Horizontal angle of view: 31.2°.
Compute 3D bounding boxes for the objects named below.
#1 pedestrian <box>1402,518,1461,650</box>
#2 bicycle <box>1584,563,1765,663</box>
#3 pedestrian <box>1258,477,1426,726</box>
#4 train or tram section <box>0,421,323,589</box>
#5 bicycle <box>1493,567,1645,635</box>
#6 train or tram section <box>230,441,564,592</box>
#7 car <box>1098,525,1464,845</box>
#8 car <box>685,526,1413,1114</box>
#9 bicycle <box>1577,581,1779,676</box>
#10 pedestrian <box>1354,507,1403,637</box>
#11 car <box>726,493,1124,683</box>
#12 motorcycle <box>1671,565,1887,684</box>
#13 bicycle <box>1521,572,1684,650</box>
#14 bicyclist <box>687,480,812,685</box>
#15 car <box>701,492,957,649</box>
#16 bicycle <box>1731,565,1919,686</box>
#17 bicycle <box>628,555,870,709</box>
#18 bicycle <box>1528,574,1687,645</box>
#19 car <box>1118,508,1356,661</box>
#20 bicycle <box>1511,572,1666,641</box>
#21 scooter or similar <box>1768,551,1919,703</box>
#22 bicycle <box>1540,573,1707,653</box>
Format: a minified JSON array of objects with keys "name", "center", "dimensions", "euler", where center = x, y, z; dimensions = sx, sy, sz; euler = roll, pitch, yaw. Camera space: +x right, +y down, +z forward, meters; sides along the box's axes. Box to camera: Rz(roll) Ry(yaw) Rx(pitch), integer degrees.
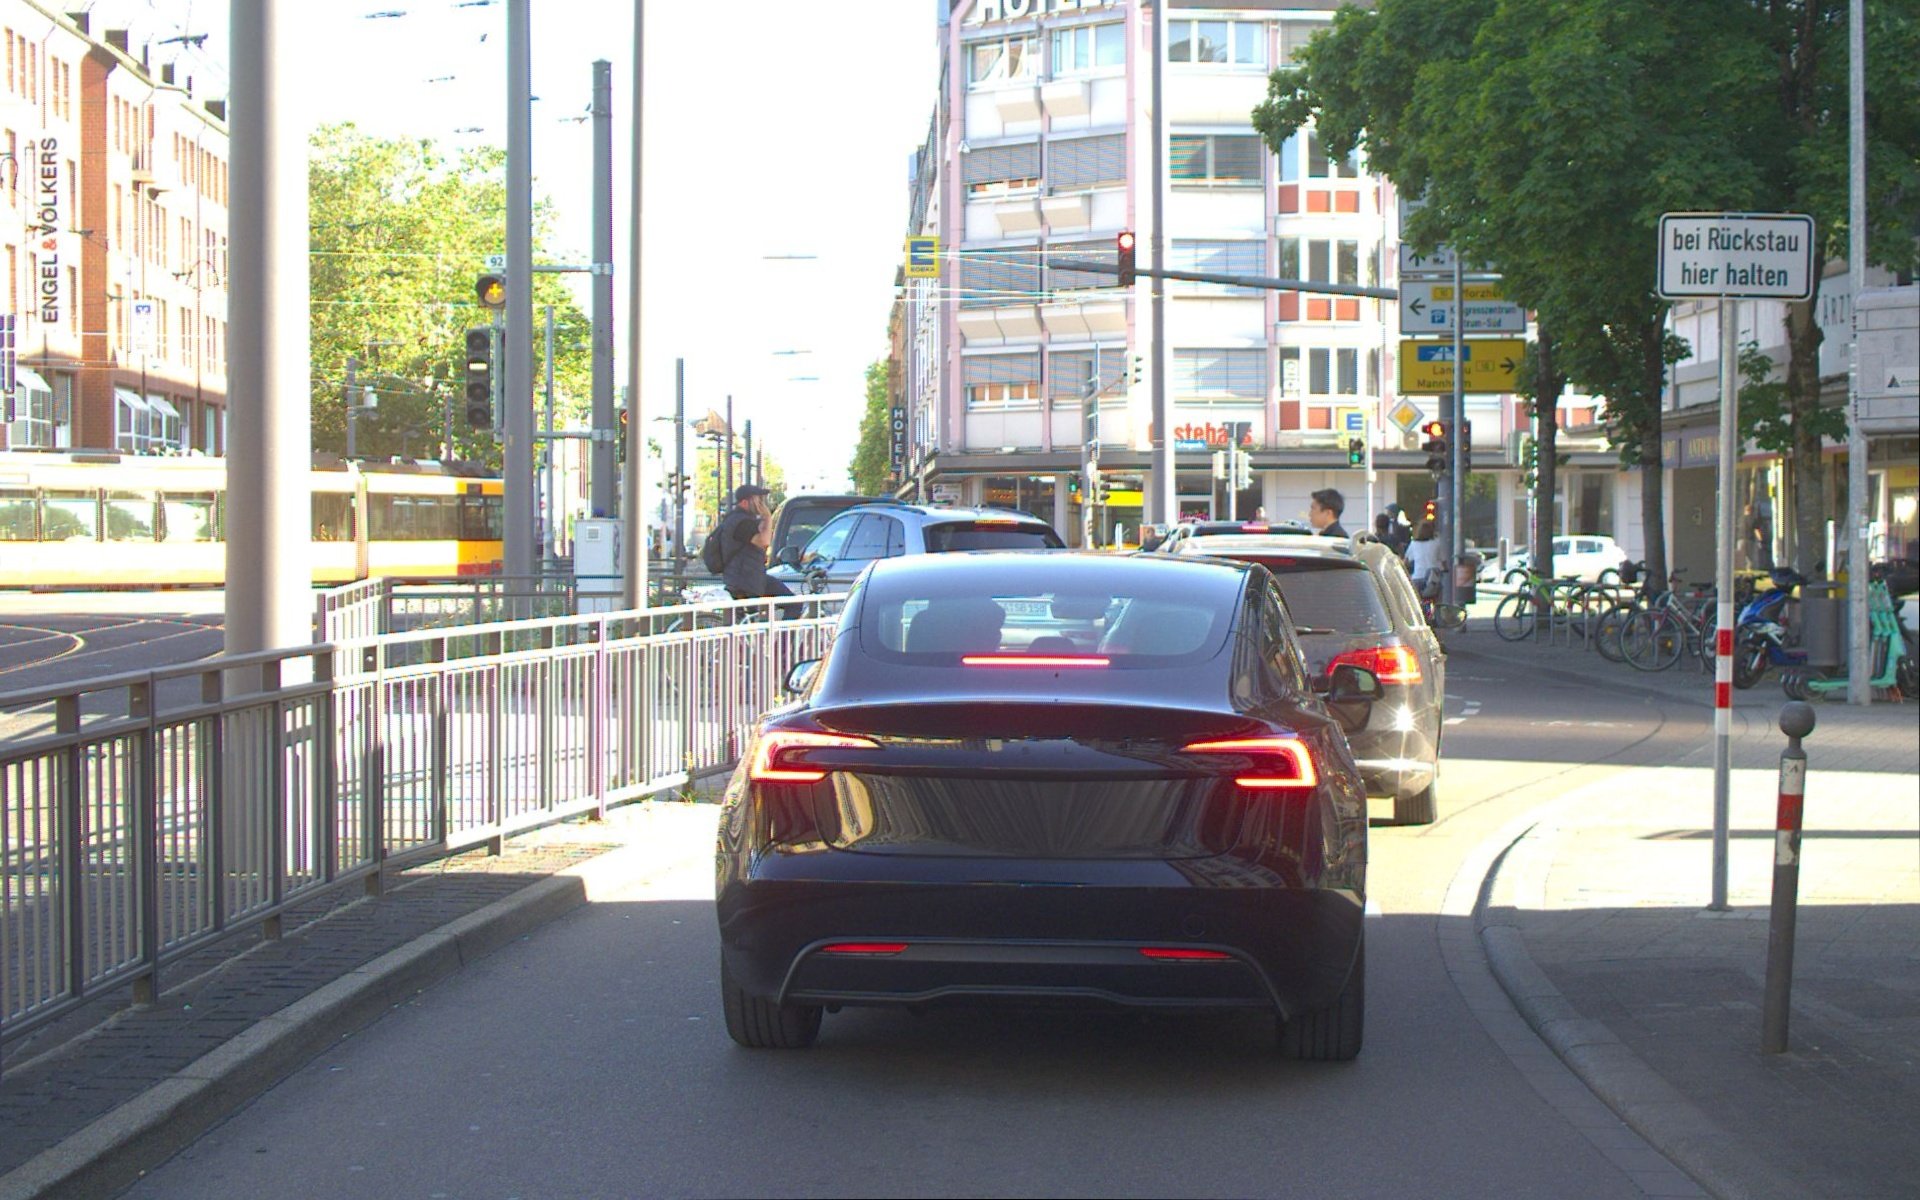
[{"name":"pedestrian","center":[5.874,-0.205,42.850],"dimensions":[0.629,1.608,0.643],"euler":[1,1,2]},{"name":"bicycle","center":[8.078,0.144,38.899],"dimensions":[1.924,1.093,0.555],"euler":[1,1,0]},{"name":"pedestrian","center":[2.729,0.012,24.553],"dimensions":[1.004,1.736,0.529],"euler":[2,1,-26]},{"name":"train or tram section","center":[-21.228,-2.220,80.962],"dimensions":[2.680,3.703,14.162],"euler":[2,1,36]},{"name":"bicycle","center":[8.146,0.014,46.032],"dimensions":[1.924,0.887,0.526],"euler":[1,1,0]},{"name":"train or tram section","center":[-14.976,-2.145,93.588],"dimensions":[2.638,3.706,15.375],"euler":[2,1,16]},{"name":"car","center":[1.747,0.350,18.020],"dimensions":[1.654,1.413,3.999],"euler":[2,2,7]},{"name":"car","center":[0.142,0.544,10.774],"dimensions":[1.848,1.479,3.788],"euler":[1,1,-3]},{"name":"bicycle","center":[7.719,0.302,36.996],"dimensions":[2.051,0.979,0.483],"euler":[1,1,0]},{"name":"pedestrian","center":[5.476,-0.368,44.991],"dimensions":[0.562,1.677,0.750],"euler":[1,1,3]},{"name":"car","center":[-0.393,-0.146,30.200],"dimensions":[1.783,1.514,4.219],"euler":[2,1,-26]},{"name":"motorcycle","center":[8.271,0.244,34.762],"dimensions":[1.991,1.124,0.596],"euler":[2,1,-1]},{"name":"bicycle","center":[8.017,0.136,42.907],"dimensions":[1.924,0.947,0.526],"euler":[1,1,0]},{"name":"bicyclist","center":[-1.586,-0.135,25.868],"dimensions":[0.836,1.494,0.560],"euler":[2,1,-9]},{"name":"car","center":[-1.459,-0.337,36.523],"dimensions":[1.824,1.514,4.219],"euler":[2,1,-14]},{"name":"bicycle","center":[8.435,0.241,32.778],"dimensions":[2.051,1.118,0.483],"euler":[1,1,0]},{"name":"bicycle","center":[-1.599,0.236,25.935],"dimensions":[1.727,1.084,0.678],"euler":[2,1,-9]},{"name":"bicycle","center":[8.285,0.118,44.017],"dimensions":[1.924,0.885,0.526],"euler":[1,1,0]},{"name":"car","center":[2.935,-0.188,37.137],"dimensions":[1.824,1.514,3.650],"euler":[2,1,-7]},{"name":"bicycle","center":[8.241,0.083,45.111],"dimensions":[1.924,0.887,0.526],"euler":[1,1,0]},{"name":"scooter or similar","center":[7.927,0.238,30.391],"dimensions":[1.408,1.312,0.696],"euler":[0,-1,-26]},{"name":"bicycle","center":[8.076,0.152,41.892],"dimensions":[1.924,0.947,0.526],"euler":[1,1,0]}]
